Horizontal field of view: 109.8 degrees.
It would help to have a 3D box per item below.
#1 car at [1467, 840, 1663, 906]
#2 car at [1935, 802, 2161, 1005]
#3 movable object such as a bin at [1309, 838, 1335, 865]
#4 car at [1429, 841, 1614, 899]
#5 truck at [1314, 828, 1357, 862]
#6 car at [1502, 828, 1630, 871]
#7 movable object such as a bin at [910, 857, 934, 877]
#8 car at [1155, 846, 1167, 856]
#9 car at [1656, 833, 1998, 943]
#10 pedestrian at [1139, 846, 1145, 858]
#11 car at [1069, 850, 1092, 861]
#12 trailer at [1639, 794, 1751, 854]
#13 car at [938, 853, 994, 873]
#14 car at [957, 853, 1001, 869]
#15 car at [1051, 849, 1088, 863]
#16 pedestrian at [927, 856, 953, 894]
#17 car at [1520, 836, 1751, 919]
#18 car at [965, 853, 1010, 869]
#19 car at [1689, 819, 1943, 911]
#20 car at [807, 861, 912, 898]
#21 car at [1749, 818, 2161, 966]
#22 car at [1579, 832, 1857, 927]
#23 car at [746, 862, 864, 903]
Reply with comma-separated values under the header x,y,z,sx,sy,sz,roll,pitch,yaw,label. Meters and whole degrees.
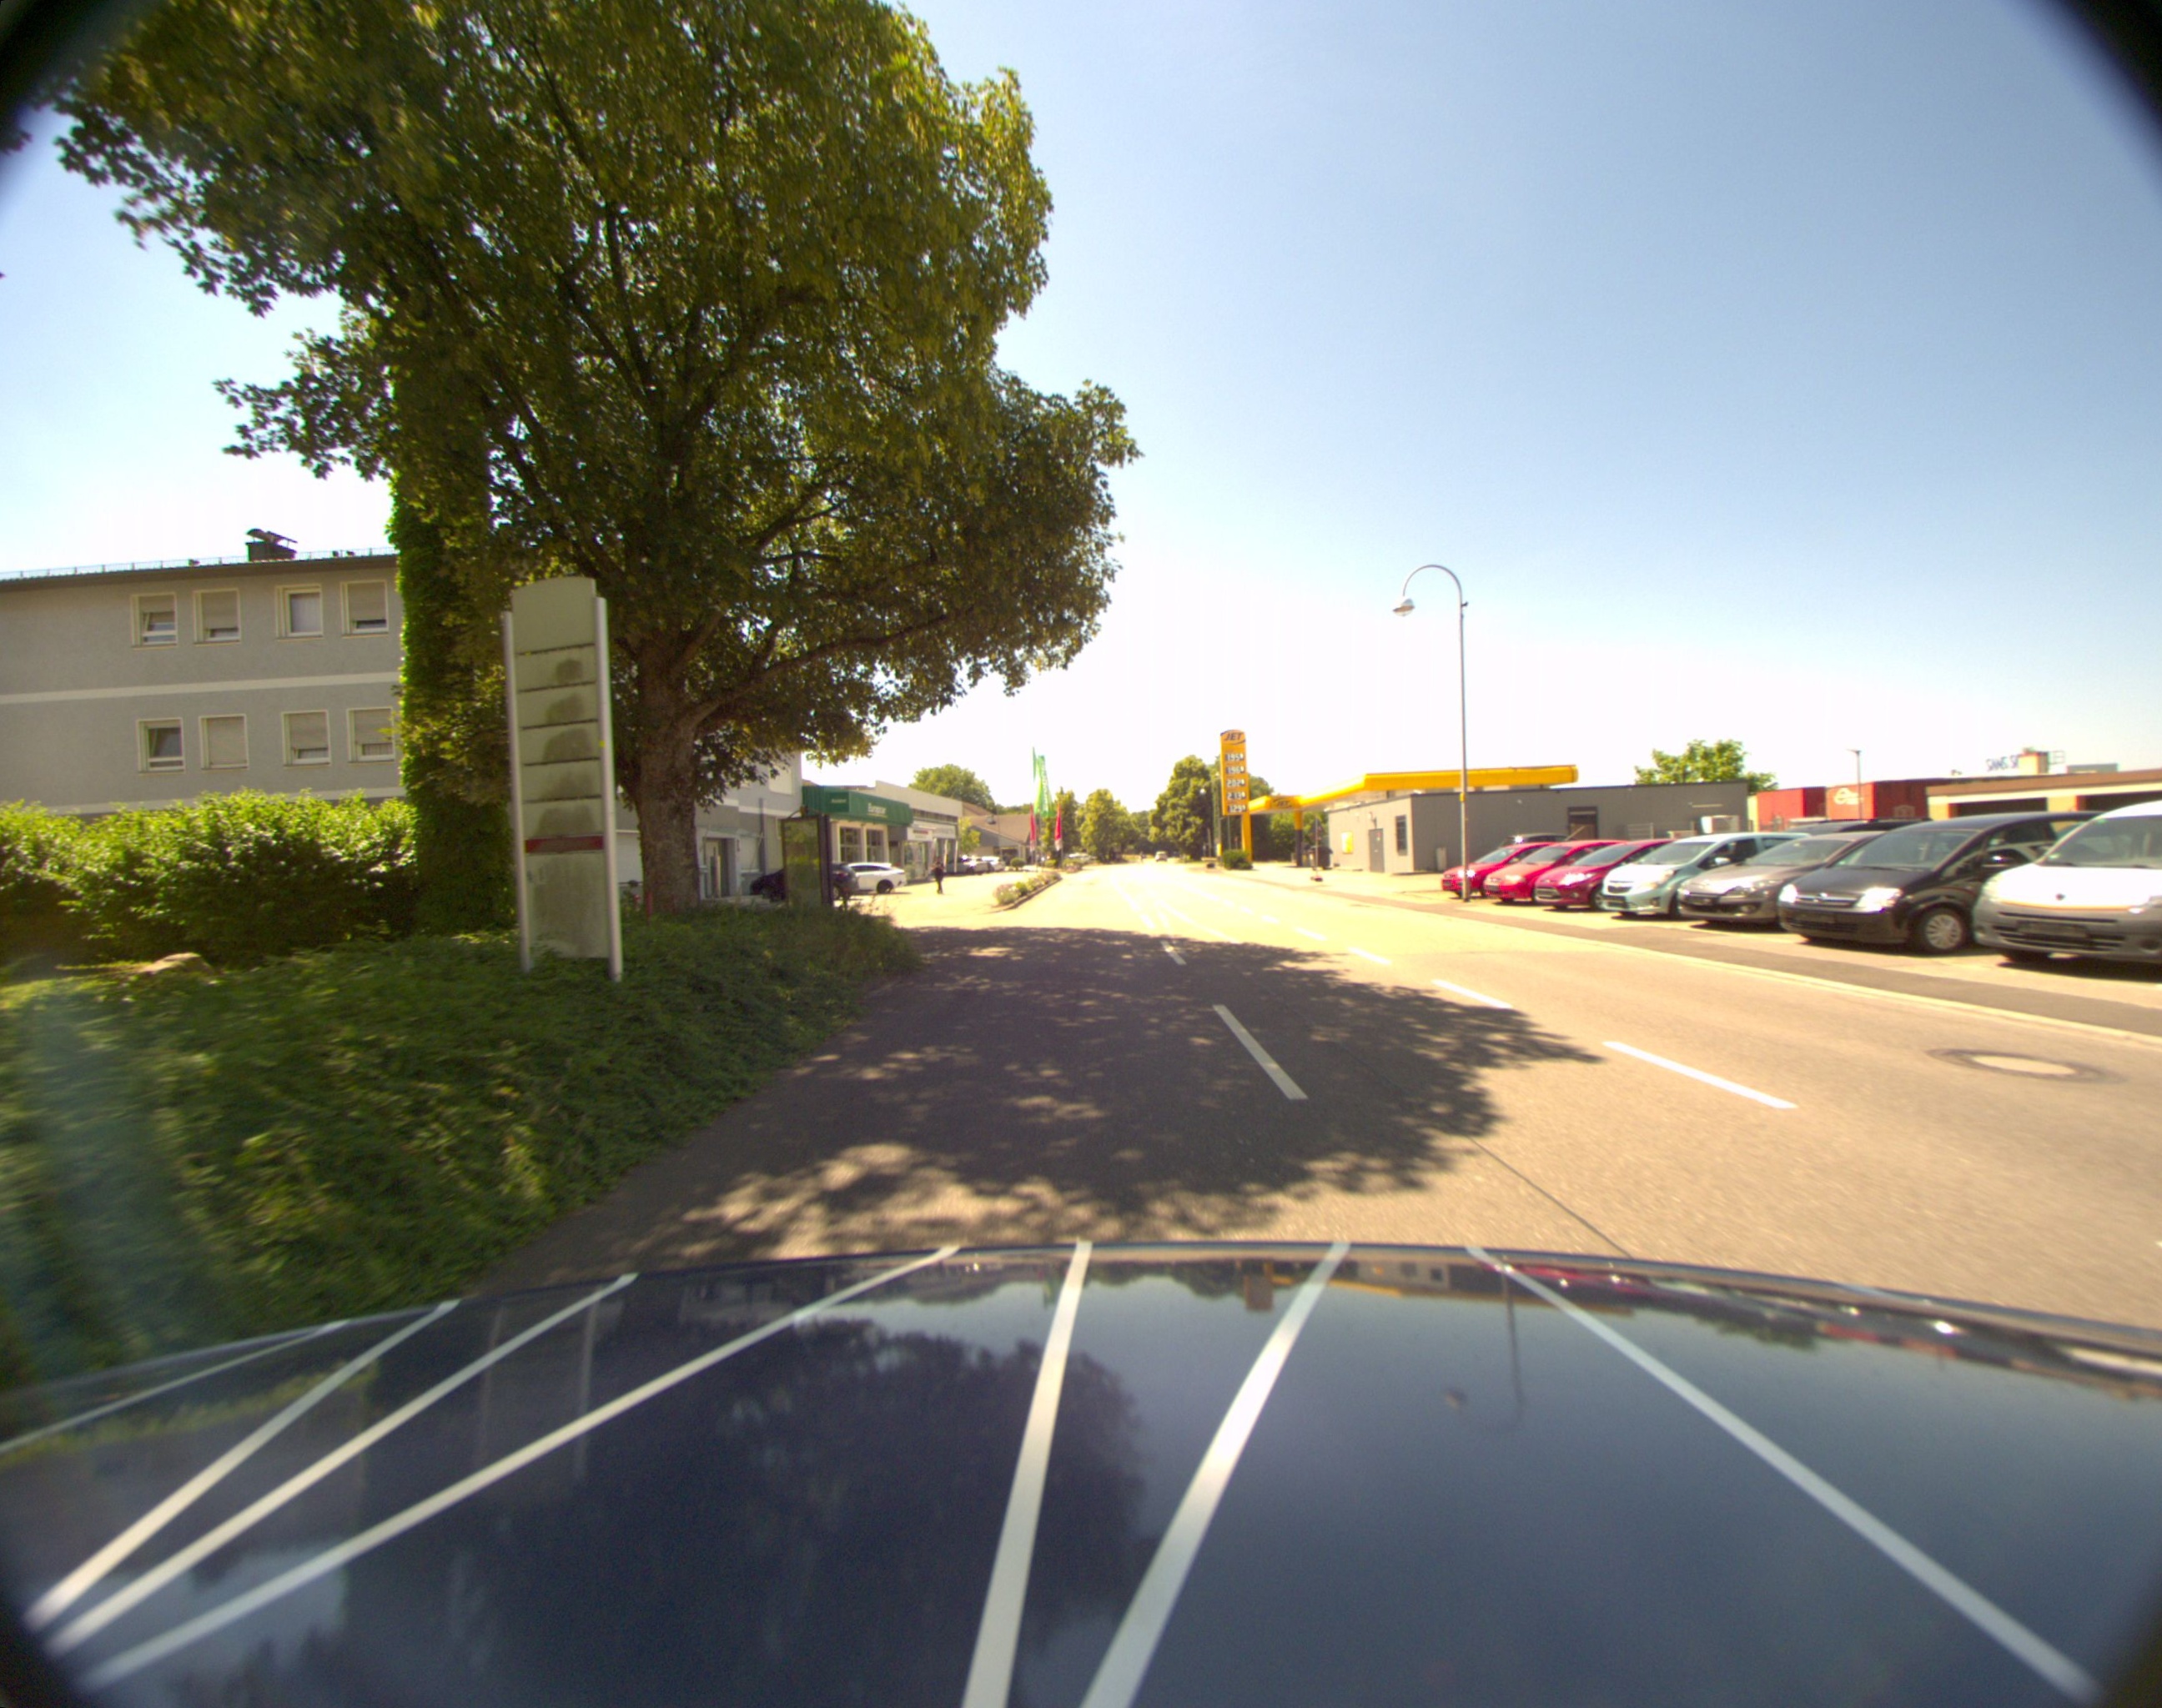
x,y,z,sx,sy,sz,roll,pitch,yaw,label
11.985,0.429,19.001,3.673,1.449,1.892,-2,1,-1,car
12.004,0.381,7.931,4.105,1.887,1.999,-2,1,-3,car
14.166,-0.127,44.745,0.954,1.508,1.428,-6,-1,2,movable object such as a bin
12.303,0.418,21.402,4.136,1.435,1.827,-2,1,1,car
20.811,-0.731,62.361,2.237,2.583,6.736,-2,1,9,truck
19.580,-0.190,30.820,3.996,1.575,1.754,-2,1,4,car
-11.536,0.936,55.263,1.566,1.414,0.702,1,1,9,movable object such as a bin
13.412,-0.482,127.768,1.973,1.663,4.250,-1,0,6,car
11.873,0.499,12.300,3.673,1.523,1.922,-2,1,-1,car
8.698,-0.282,108.087,0.730,1.779,0.621,-2,1,15,pedestrian
-0.059,0.225,114.199,3.405,1.497,1.582,-1,0,3,car
35.712,-1.649,44.469,1.869,3.200,5.914,-2,0,2,trailer
-10.330,0.778,68.330,4.586,1.632,2.003,-1,1,21,car
-9.936,0.677,73.950,3.858,1.524,1.680,-1,1,20,car
-1.538,0.255,102.012,4.522,1.658,1.895,-2,0,10,car
-6.187,0.924,33.450,0.842,1.632,1.010,-1,1,6,pedestrian
11.985,0.468,16.601,3.673,1.596,1.881,-2,1,-1,car
-9.290,0.660,75.783,3.992,1.452,1.807,-1,1,17,car
16.133,0.224,16.823,3.859,1.795,1.858,-2,1,-1,car
-9.966,1.102,34.154,4.362,1.363,1.952,-2,1,-21,car
11.508,0.439,10.048,3.673,1.663,1.922,-2,1,-1,car
11.905,0.437,14.407,3.673,1.572,1.922,-2,1,-1,car
-10.936,1.110,30.266,3.997,1.541,1.797,0,1,1,car
